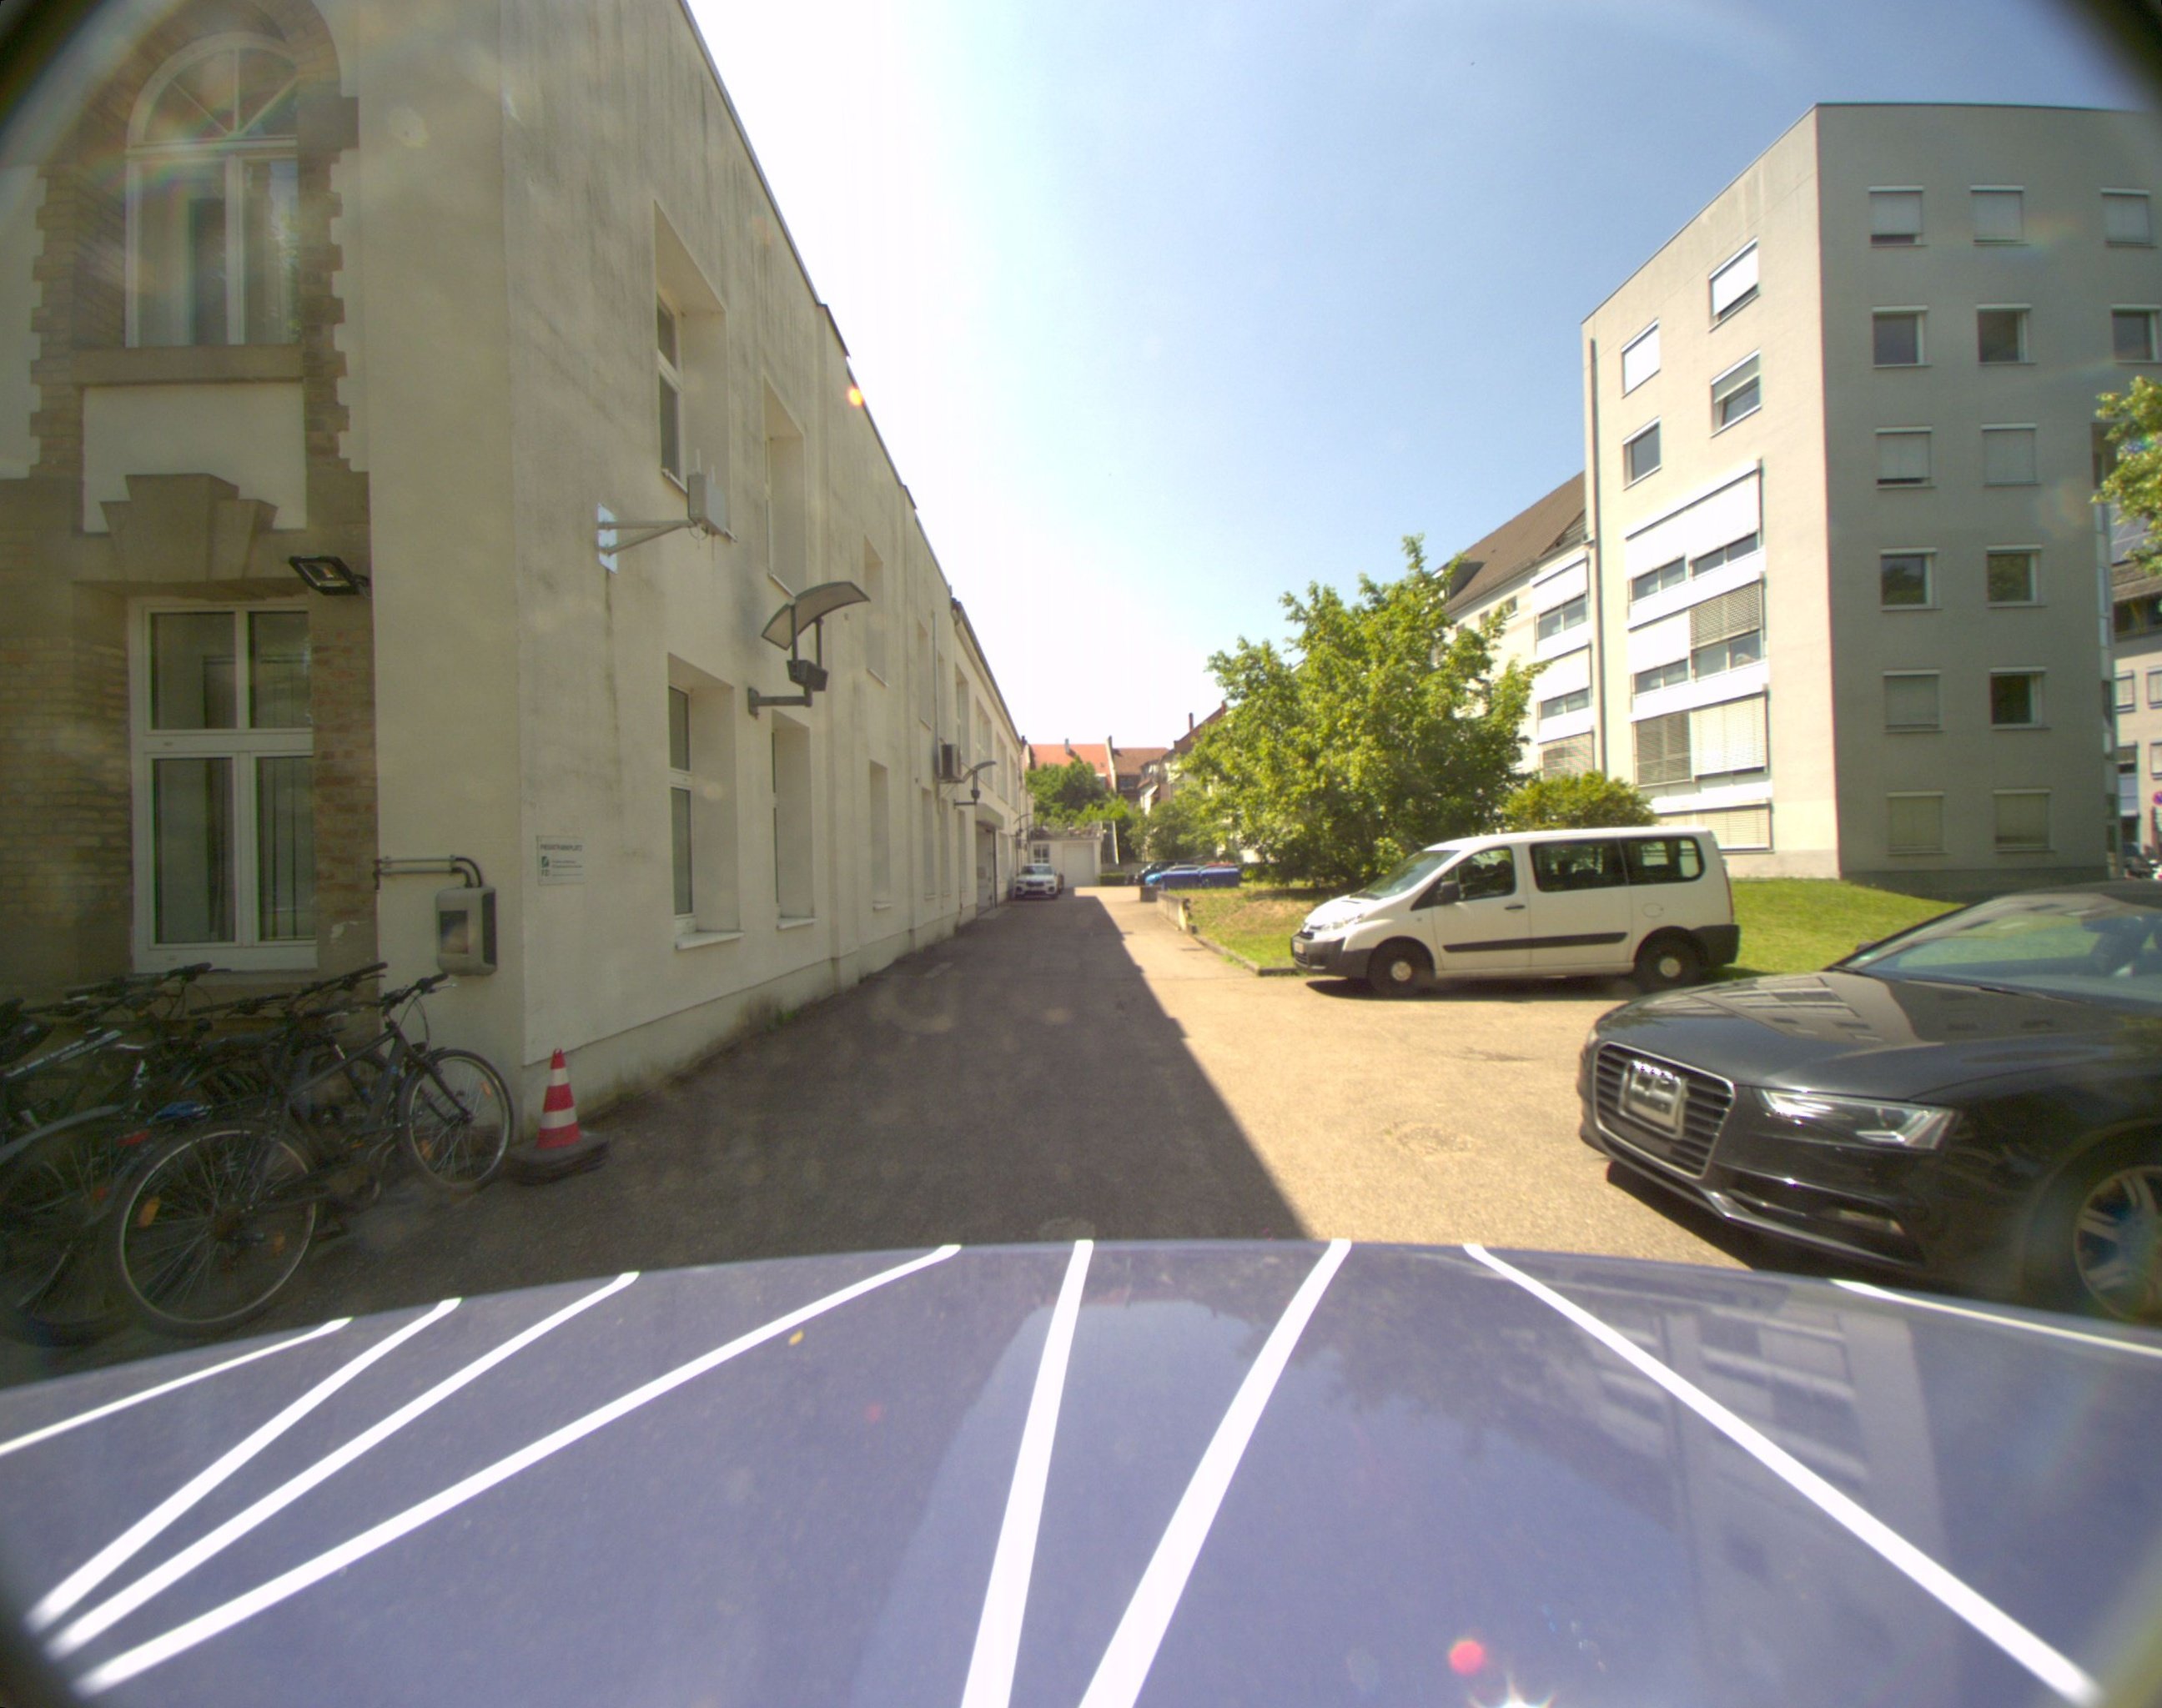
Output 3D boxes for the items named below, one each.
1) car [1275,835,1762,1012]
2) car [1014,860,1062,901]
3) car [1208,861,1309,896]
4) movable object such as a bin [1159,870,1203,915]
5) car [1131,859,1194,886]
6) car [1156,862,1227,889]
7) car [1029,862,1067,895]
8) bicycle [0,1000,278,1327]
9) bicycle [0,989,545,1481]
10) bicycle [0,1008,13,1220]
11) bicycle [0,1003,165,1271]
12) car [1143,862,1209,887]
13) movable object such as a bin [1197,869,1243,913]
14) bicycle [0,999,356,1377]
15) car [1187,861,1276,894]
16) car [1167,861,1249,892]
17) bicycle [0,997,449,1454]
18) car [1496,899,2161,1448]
[{"bbox_3d":[5.122,0.789,9.518,4.859,1.872,2.068,-1,0,2],"label":"car"},{"bbox_3d":[-2.041,1.259,37.245,2.011,1.792,4.727,-1,0,0],"label":"car"},{"bbox_3d":[8.545,1.162,36.696,4.445,1.559,1.612,-1,0,-5],"label":"car"},{"bbox_3d":[3.267,1.242,24.978,1.271,1.380,1.095,-1,0,0],"label":"movable object such as a bin"},{"bbox_3d":[5.909,1.317,55.317,4.223,1.812,2.009,-1,0,-5],"label":"car"},{"bbox_3d":[7.142,1.391,49.323,4.223,1.559,1.612,-1,0,-5],"label":"car"},{"bbox_3d":[-1.953,1.411,46.049,2.011,1.792,4.727,-1,0,0],"label":"car"},{"bbox_3d":[-4.487,1.325,3.116,0.406,1.095,1.826,-1,0,0],"label":"bicycle"},{"bbox_3d":[-3.061,1.266,3.108,0.406,1.095,1.826,-1,0,0],"label":"bicycle"},{"bbox_3d":[-5.840,1.360,3.079,0.406,1.095,1.826,-1,0,0],"label":"bicycle"},{"bbox_3d":[-5.098,1.341,3.124,0.406,1.095,1.826,-1,0,0],"label":"bicycle"},{"bbox_3d":[6.532,1.427,52.381,4.223,1.559,1.612,-1,0,-5],"label":"car"},{"bbox_3d":[4.566,1.209,25.002,1.271,1.380,1.095,-1,0,0],"label":"movable object such as a bin"},{"bbox_3d":[-4.047,1.314,3.091,0.406,1.095,1.826,-1,0,0],"label":"bicycle"},{"bbox_3d":[7.758,1.183,39.401,4.223,1.559,1.612,-1,0,-5],"label":"car"},{"bbox_3d":[7.102,1.235,42.706,4.223,1.559,1.612,-1,0,-5],"label":"car"},{"bbox_3d":[-3.531,1.301,3.057,0.406,1.095,1.826,-1,0,0],"label":"bicycle"},{"bbox_3d":[4.447,0.914,3.017,4.440,1.371,2.025,-1,-2,2],"label":"car"}]
